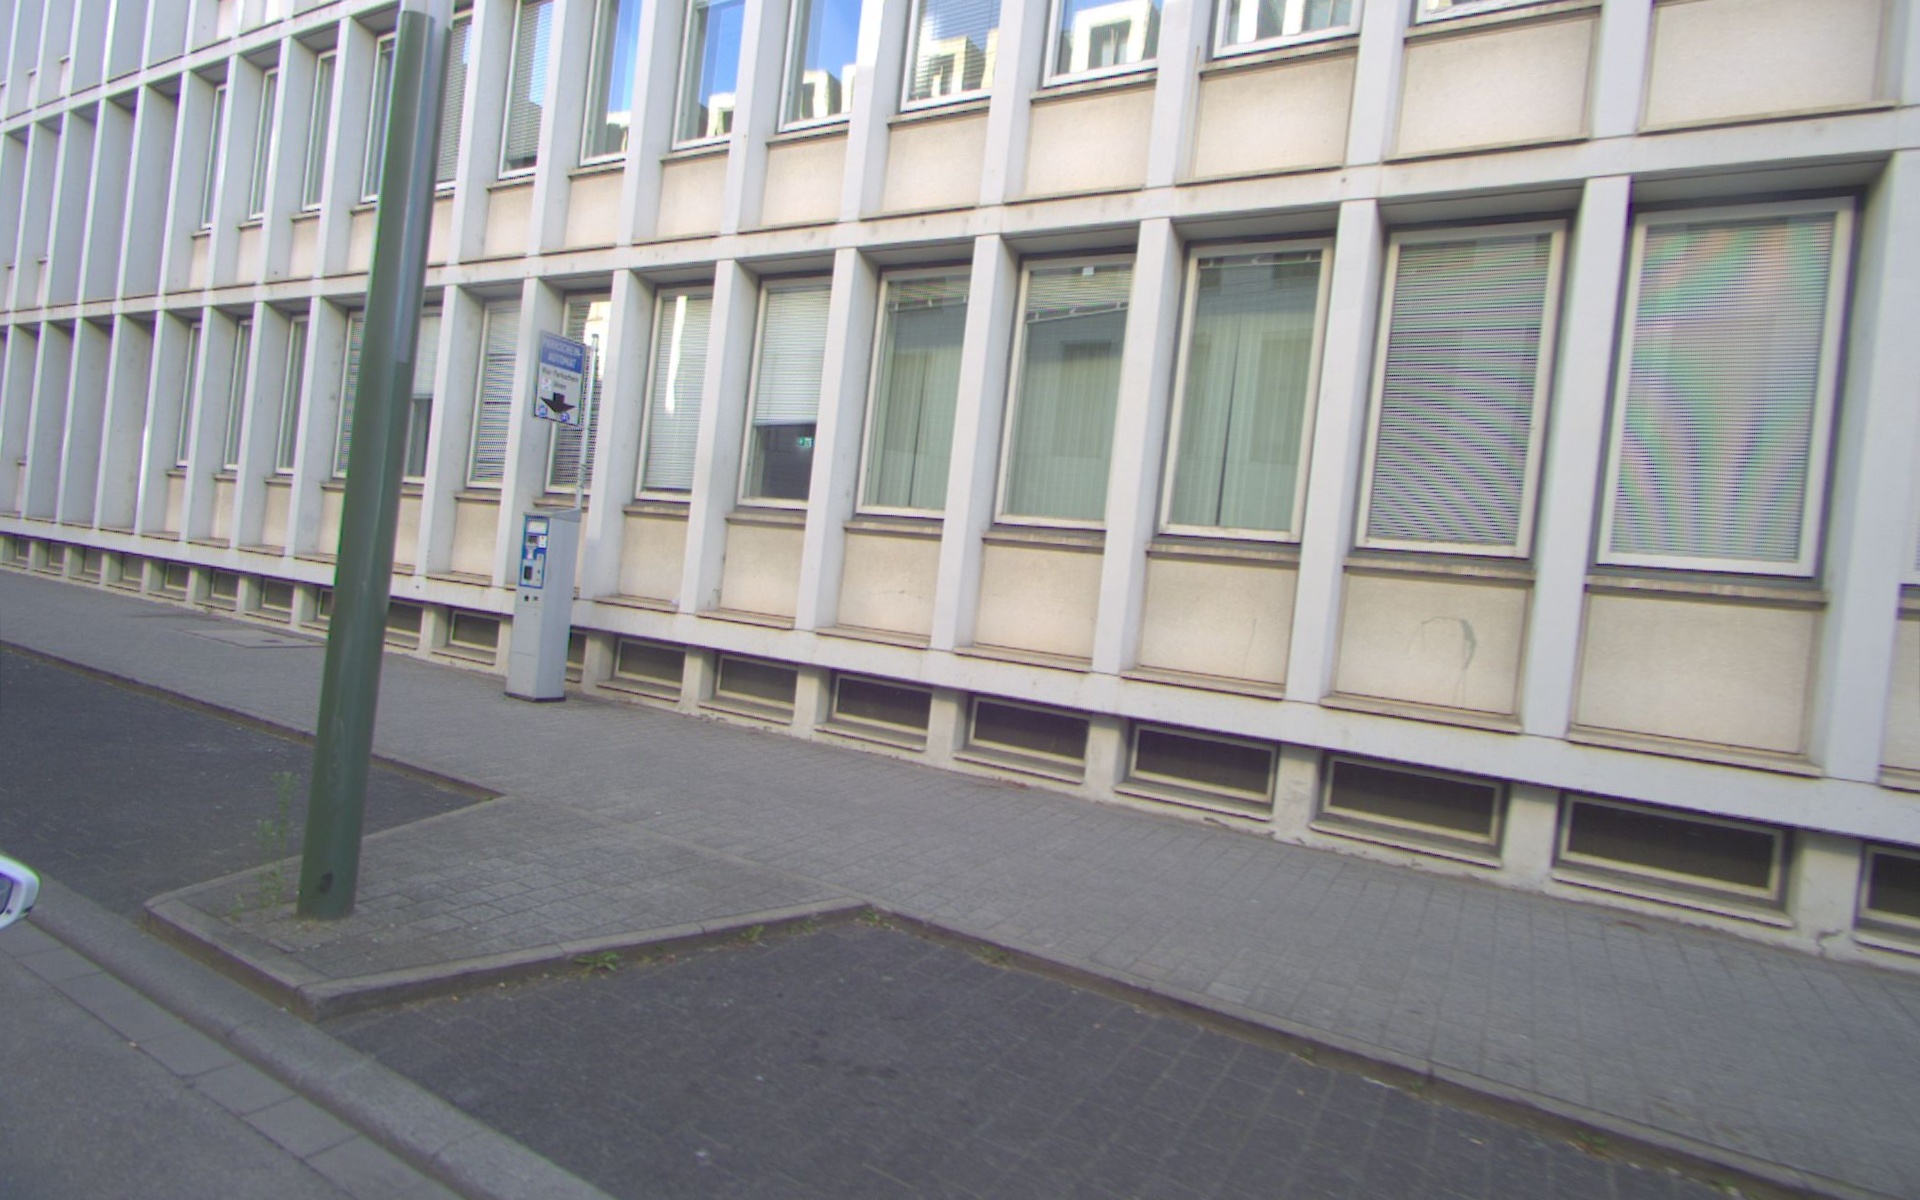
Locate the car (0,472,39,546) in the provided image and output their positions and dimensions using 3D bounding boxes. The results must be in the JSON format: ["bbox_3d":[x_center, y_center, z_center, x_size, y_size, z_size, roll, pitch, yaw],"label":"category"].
[{"bbox_3d":[-24.999,-2.360,23.708,1.794,1.667,4.489,11,4,18],"label":"car"}]
